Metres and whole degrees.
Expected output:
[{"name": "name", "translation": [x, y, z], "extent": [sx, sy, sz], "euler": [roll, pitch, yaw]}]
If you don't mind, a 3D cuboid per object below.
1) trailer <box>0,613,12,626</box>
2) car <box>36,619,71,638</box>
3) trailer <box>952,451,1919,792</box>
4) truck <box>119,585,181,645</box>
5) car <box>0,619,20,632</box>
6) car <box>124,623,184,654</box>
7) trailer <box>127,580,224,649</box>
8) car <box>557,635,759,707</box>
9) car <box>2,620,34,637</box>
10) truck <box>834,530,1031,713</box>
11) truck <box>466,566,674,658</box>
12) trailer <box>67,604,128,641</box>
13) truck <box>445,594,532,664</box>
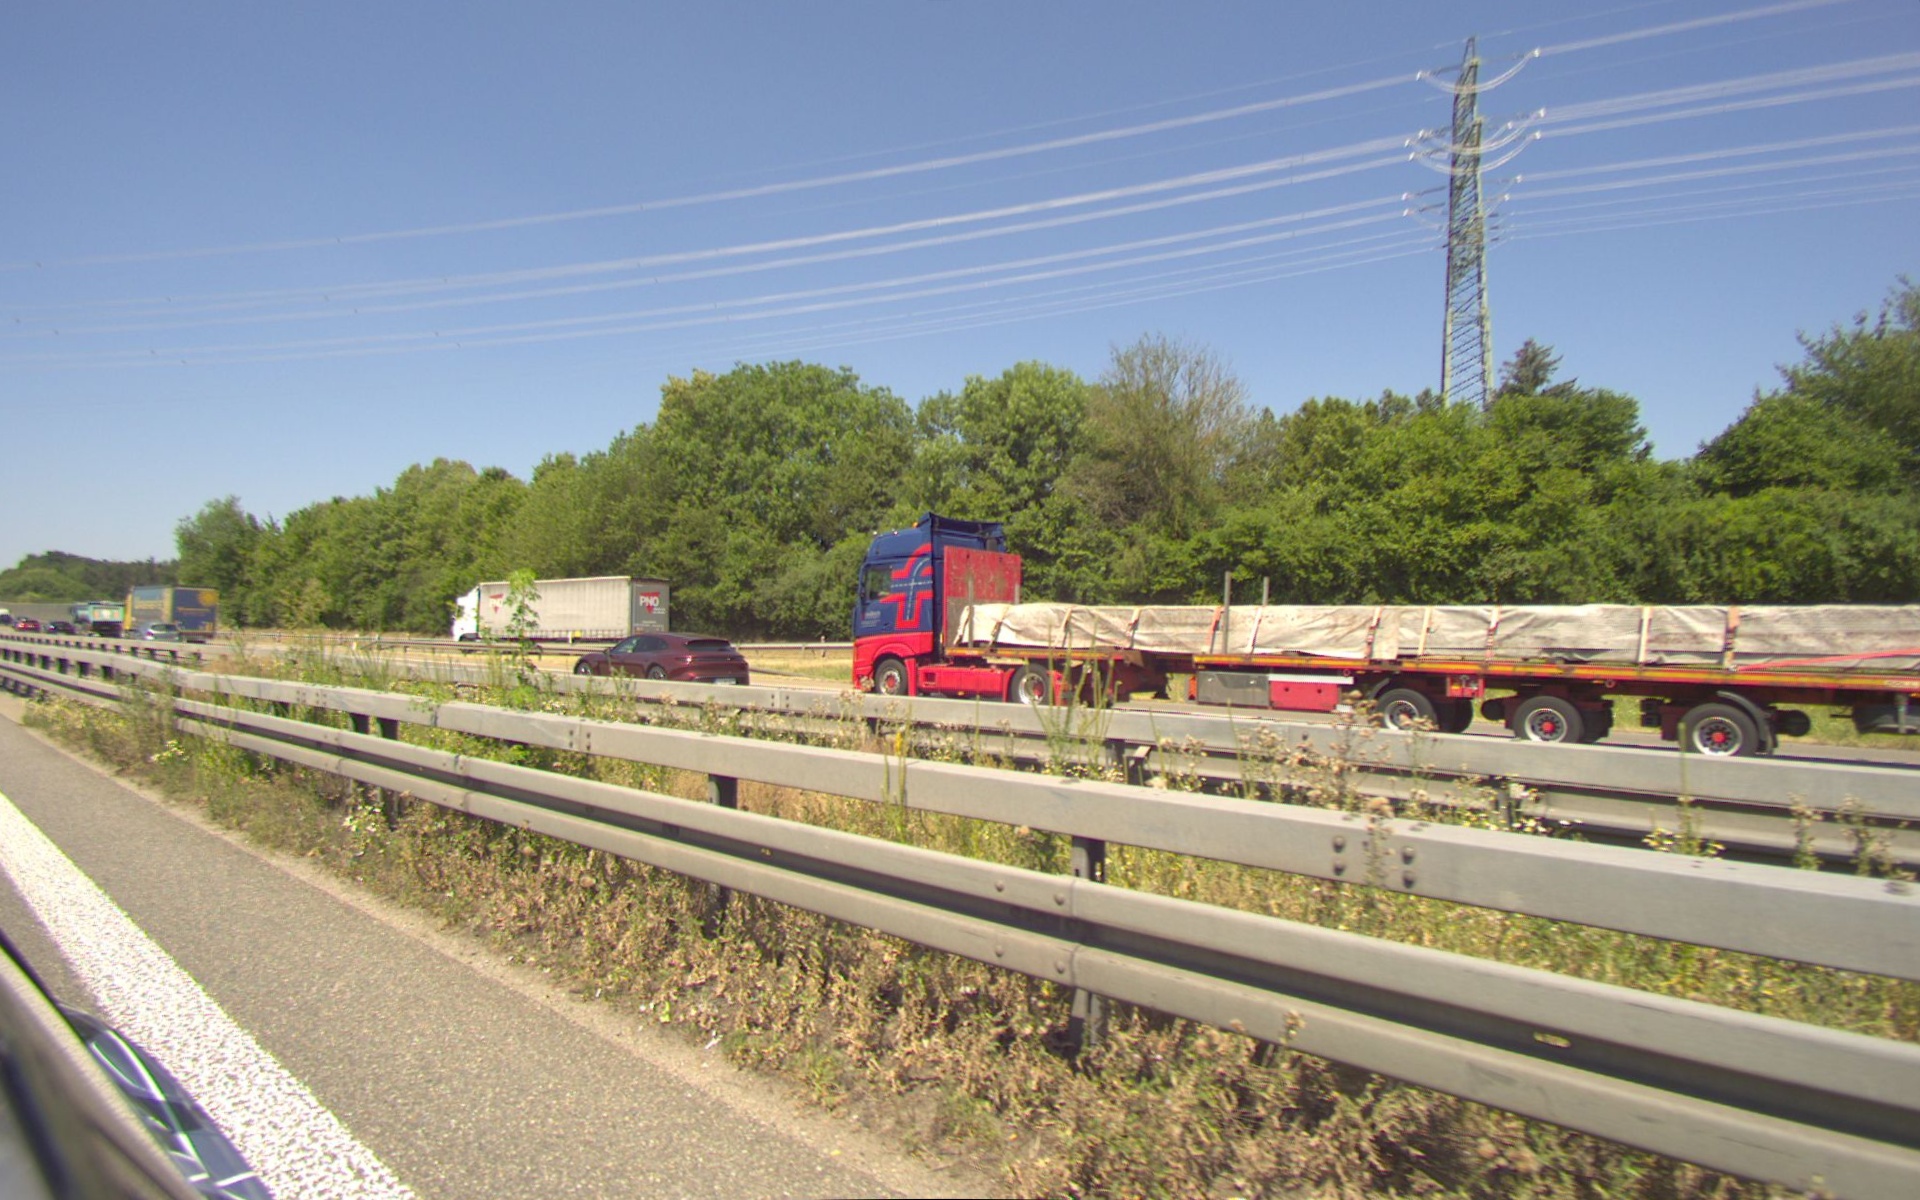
[{"name": "trailer", "translation": [-153.950, 3.055, 161.668], "extent": [6.717, 1.960, 2.737], "euler": [-1, -3, 40]}, {"name": "car", "translation": [-73.353, 2.273, 81.875], "extent": [4.146, 1.480, 1.693], "euler": [-1, -4, 43]}, {"name": "trailer", "translation": [6.851, 0.330, 15.463], "extent": [16.014, 3.586, 2.965], "euler": [-1, -2, 41]}, {"name": "truck", "translation": [-61.440, 1.174, 76.750], "extent": [3.513, 4.374, 3.140], "euler": [-1, -2, 43]}, {"name": "car", "translation": [-130.924, 3.473, 138.870], "extent": [4.509, 1.813, 2.135], "euler": [-1, -3, 39]}, {"name": "car", "translation": [-43.438, 2.055, 54.509], "extent": [3.881, 1.542, 1.763], "euler": [-1, -4, 41]}, {"name": "trailer", "translation": [-55.074, 1.059, 70.840], "extent": [13.812, 4.374, 3.140], "euler": [-1, -2, 43]}, {"name": "car", "translation": [-6.505, 1.438, 21.503], "extent": [4.918, 1.344, 1.751], "euler": [-1, -3, 41]}, {"name": "car", "translation": [-90.959, 2.776, 97.696], "extent": [4.382, 1.542, 1.763], "euler": [-1, -4, 41]}, {"name": "truck", "translation": [-0.580, 0.466, 21.937], "extent": [3.116, 3.586, 2.965], "euler": [-1, -2, 41]}, {"name": "truck", "translation": [-22.053, 0.873, 56.495], "extent": [14.502, 4.374, 2.972], "euler": [-3, -3, 33]}, {"name": "trailer", "translation": [-79.963, 2.095, 93.742], "extent": [9.706, 3.326, 2.883], "euler": [-1, -2, 42]}, {"name": "truck", "translation": [-28.130, 1.754, 60.380], "extent": [4.311, 3.926, 2.920], "euler": [-3, -3, 33]}]
